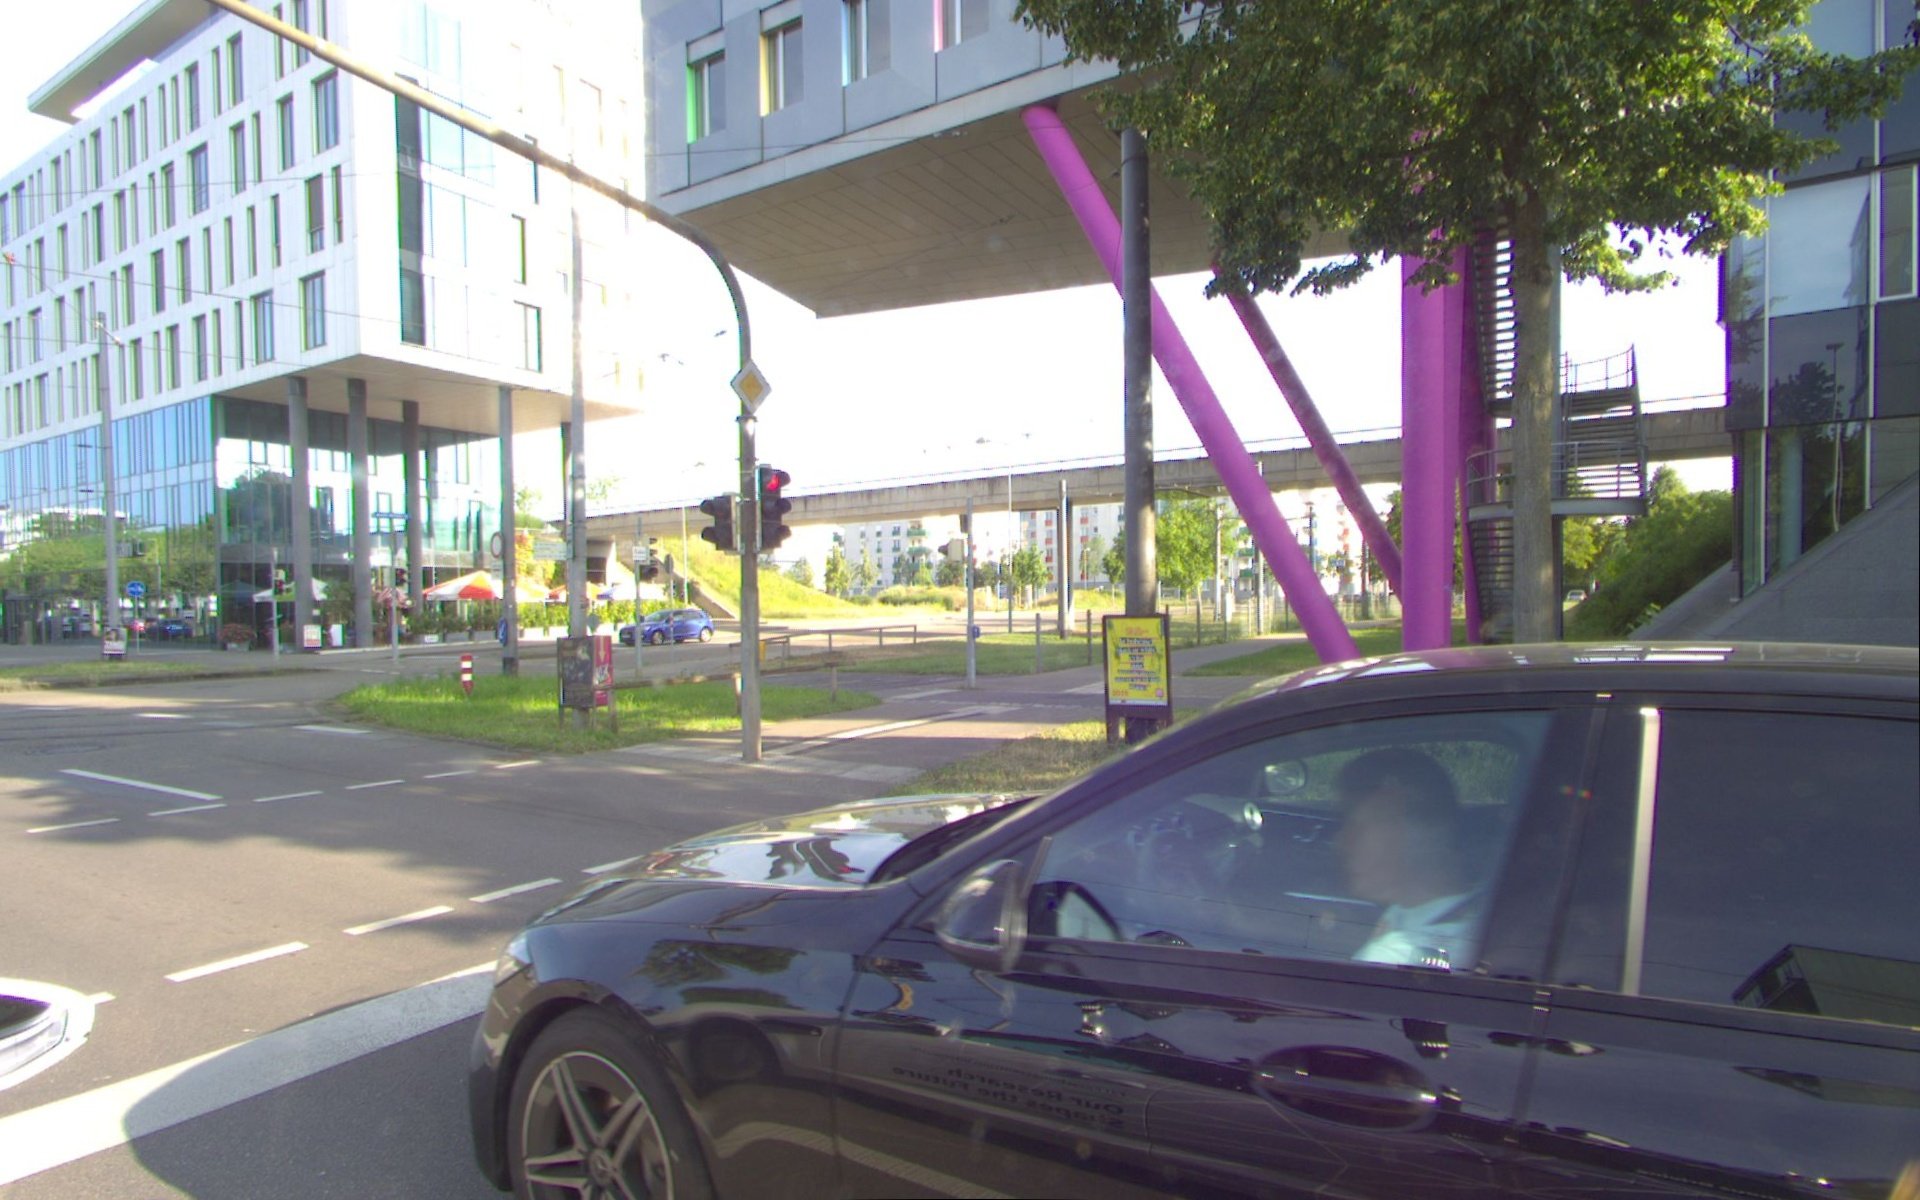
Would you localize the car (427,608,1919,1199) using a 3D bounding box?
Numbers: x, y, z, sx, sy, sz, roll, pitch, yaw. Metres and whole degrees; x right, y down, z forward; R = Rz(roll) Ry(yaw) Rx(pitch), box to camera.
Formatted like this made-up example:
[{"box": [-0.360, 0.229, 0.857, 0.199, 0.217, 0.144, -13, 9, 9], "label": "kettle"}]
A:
[{"box": [1.000, 0.770, 2.029, 4.493, 1.469, 1.834, 0, -1, 35], "label": "car"}]

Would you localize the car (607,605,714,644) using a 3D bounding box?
[{"box": [-12.485, 0.985, 41.961, 1.832, 1.443, 4.176, 0, 1, 31], "label": "car"}]
